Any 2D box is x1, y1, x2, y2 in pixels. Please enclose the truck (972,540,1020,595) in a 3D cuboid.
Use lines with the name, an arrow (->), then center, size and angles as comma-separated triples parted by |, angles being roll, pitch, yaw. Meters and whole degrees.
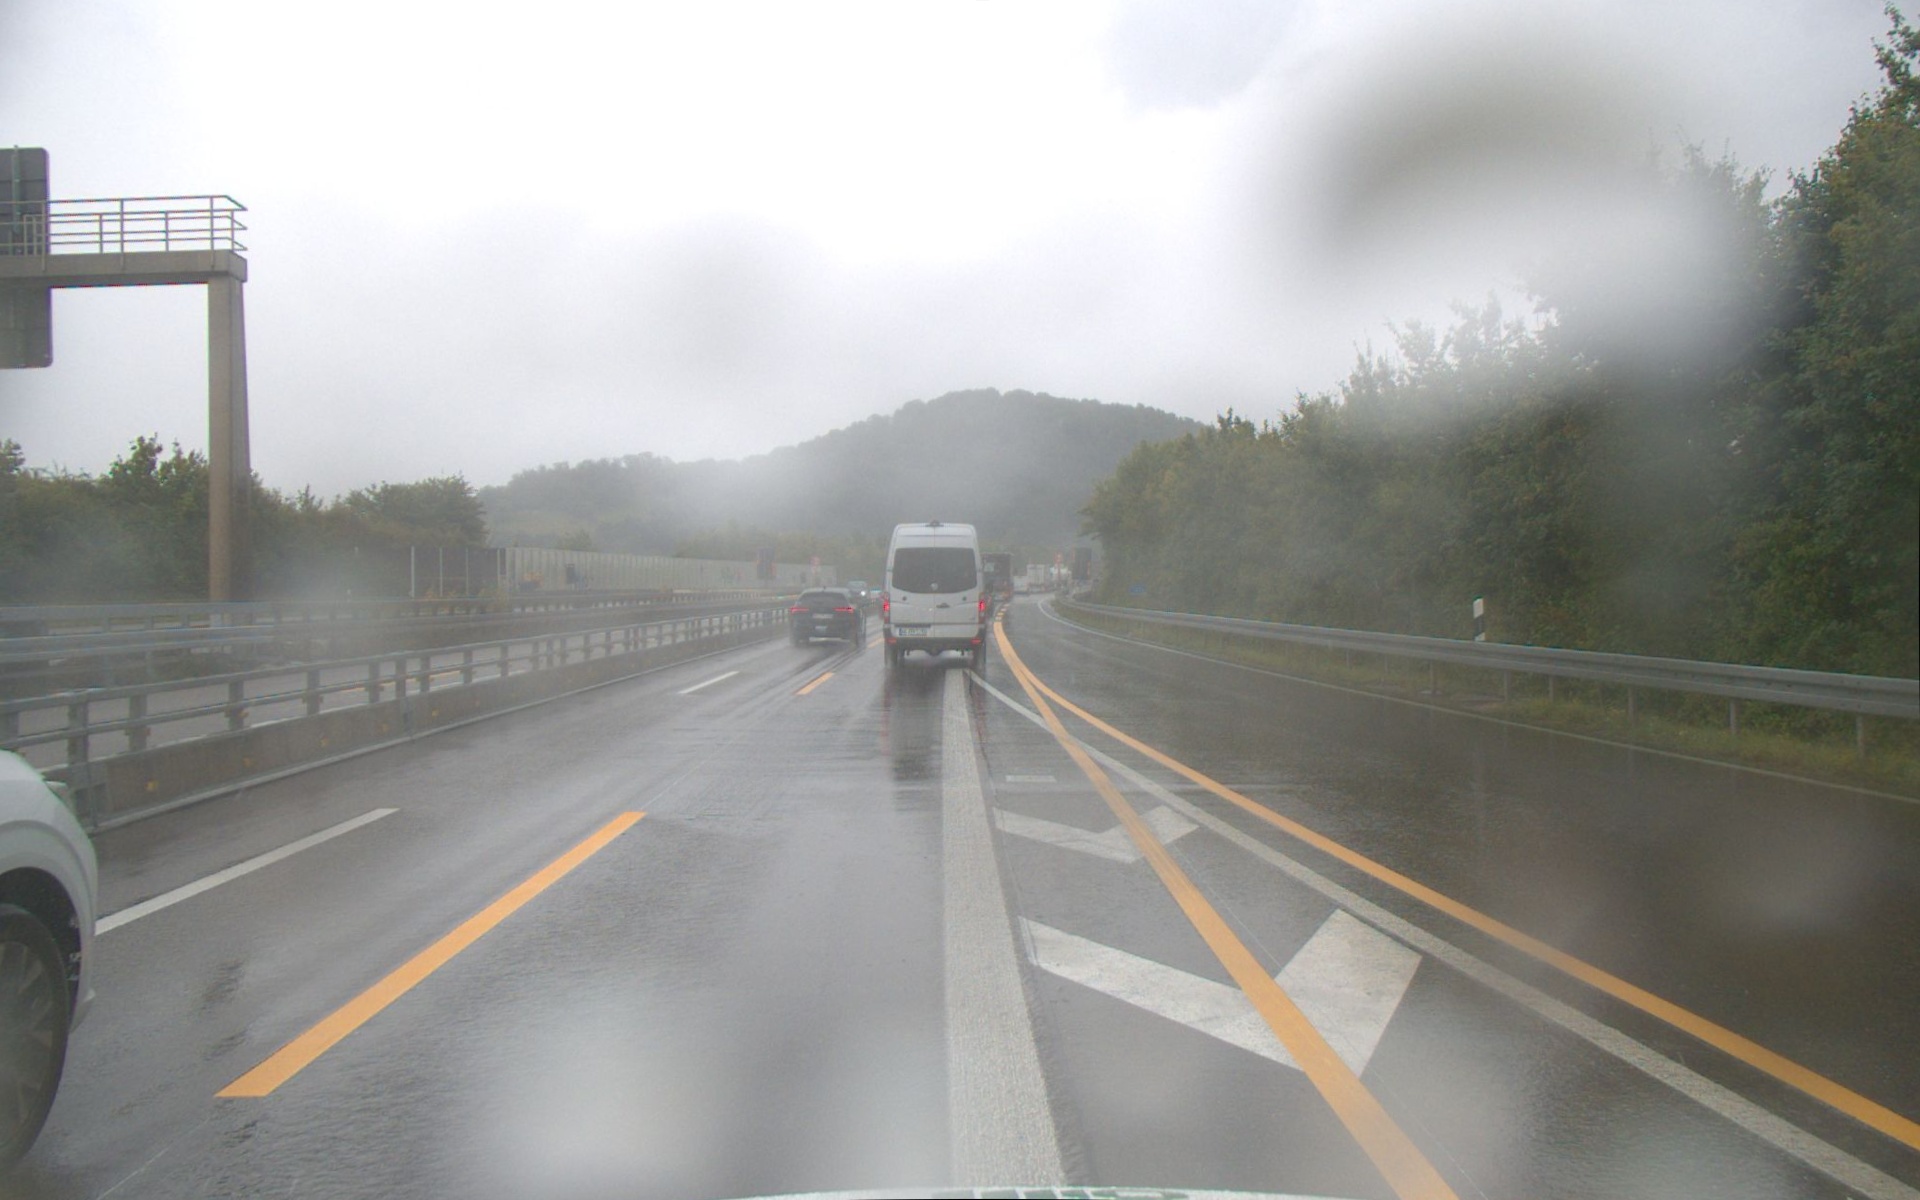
truck -> 3.154, -2.677, 140.689 | 3.506, 4.483, 9.629 | 1, 0, 5

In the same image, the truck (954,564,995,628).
truck -> 0.798, -0.227, 86.590 | 1.952, 3.163, 8.500 | 1, 0, 2

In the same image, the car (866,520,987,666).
car -> -0.561, -0.135, 32.582 | 2.100, 2.616, 5.391 | 1, 0, 2

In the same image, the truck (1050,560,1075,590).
truck -> 16.107, -3.882, 259.880 | 2.836, 4.483, 9.632 | 1, 0, 10

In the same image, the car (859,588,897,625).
car -> -3.773, 0.267, 76.598 | 1.672, 1.656, 3.999 | 1, 0, -2

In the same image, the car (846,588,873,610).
car -> -7.445, -0.084, 122.727 | 1.809, 1.529, 4.129 | 1, 0, -1

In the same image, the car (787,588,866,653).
car -> -3.408, 0.494, 42.581 | 1.908, 1.588, 3.997 | 1, 0, -4

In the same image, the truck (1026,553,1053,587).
truck -> 10.904, -4.042, 226.281 | 2.971, 4.483, 9.631 | 1, 0, 7

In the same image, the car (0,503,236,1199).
car -> -3.204, 0.592, 2.725 | 1.953, 1.645, 4.795 | 1, 0, -1

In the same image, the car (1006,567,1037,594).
car -> 7.066, -2.226, 188.519 | 2.836, 2.938, 6.416 | 1, 0, 8
